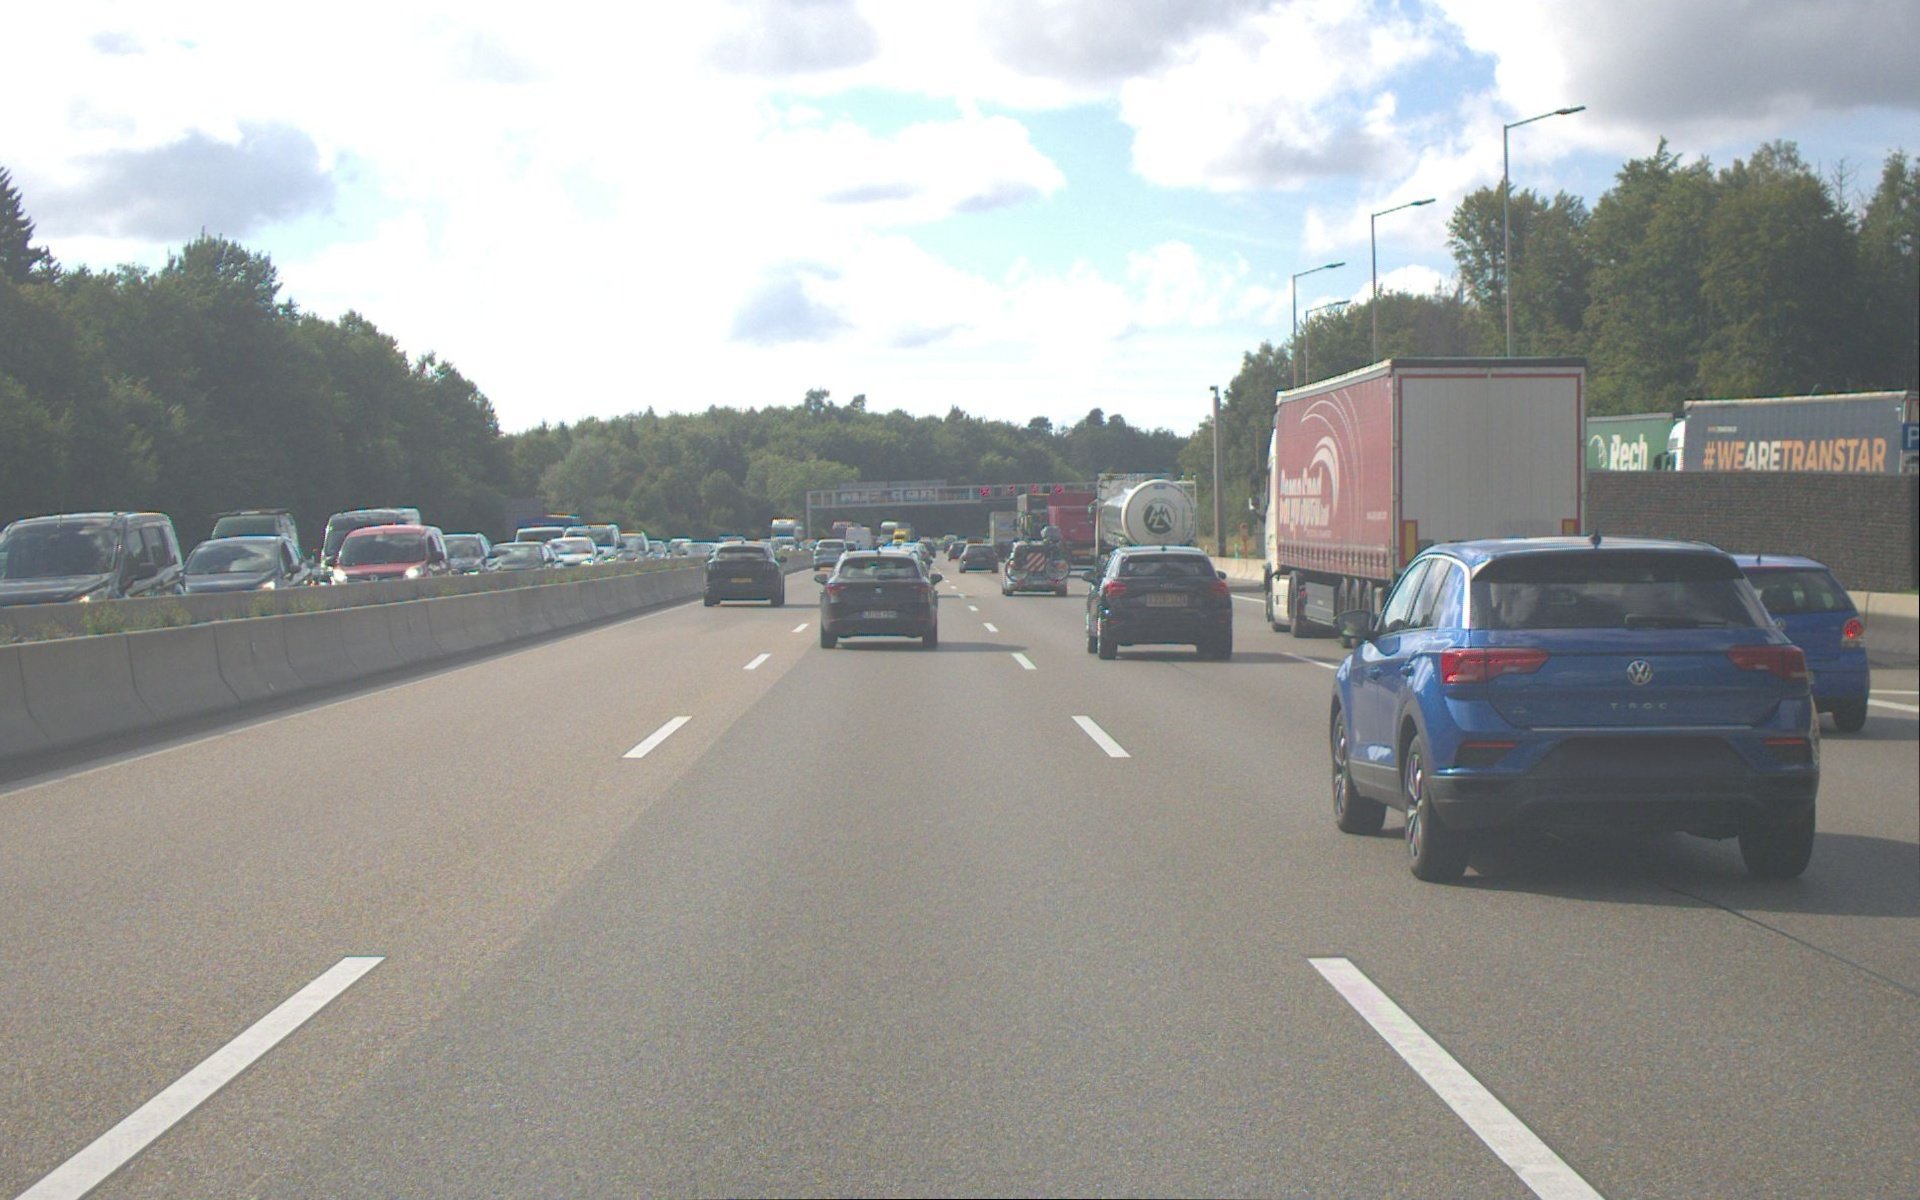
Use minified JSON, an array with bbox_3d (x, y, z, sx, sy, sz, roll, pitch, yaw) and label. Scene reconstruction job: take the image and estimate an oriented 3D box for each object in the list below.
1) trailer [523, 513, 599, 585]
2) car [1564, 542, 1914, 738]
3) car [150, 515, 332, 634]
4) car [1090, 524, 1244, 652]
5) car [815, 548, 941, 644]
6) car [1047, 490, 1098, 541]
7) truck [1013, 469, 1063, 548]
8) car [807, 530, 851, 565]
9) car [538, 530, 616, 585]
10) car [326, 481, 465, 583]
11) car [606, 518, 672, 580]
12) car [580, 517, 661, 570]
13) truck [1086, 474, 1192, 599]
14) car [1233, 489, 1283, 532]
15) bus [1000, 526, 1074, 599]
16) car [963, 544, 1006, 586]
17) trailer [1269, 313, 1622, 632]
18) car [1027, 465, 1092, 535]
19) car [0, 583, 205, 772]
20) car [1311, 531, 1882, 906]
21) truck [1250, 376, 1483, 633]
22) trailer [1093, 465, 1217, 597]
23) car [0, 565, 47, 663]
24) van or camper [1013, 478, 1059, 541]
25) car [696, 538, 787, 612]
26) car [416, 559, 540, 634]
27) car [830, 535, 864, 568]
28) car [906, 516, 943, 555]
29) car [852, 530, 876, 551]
[{"bbox_3d":[-15.788,-2.017,136.455,2.278,2.776,8.542,0,1,-2],"label":"trailer"},{"bbox_3d":[6.466,0.314,29.015,1.715,1.506,4.302,-1,0,-4],"label":"car"},{"bbox_3d":[-11.127,-0.380,53.483,1.858,1.756,4.458,0,0,0],"label":"car"},{"bbox_3d":[2.768,-0.158,46.654,1.799,1.639,4.000,1,0,0],"label":"car"},{"bbox_3d":[-1.266,-0.055,51.570,1.734,1.360,4.000,1,0,-3],"label":"car"},{"bbox_3d":[4.799,-3.586,146.813,1.993,2.007,4.000,0,-1,-1],"label":"car"},{"bbox_3d":[3.934,-4.601,174.580,2.358,3.560,11.266,0,-1,0],"label":"truck"},{"bbox_3d":[-6.973,-2.800,183.334,2.154,1.770,4.000,1,0,0],"label":"car"},{"bbox_3d":[-11.286,-1.283,101.570,1.765,1.567,4.357,1,1,0],"label":"car"},{"bbox_3d":[-10.183,-1.224,62.348,1.875,1.756,5.295,0,1,-3],"label":"car"},{"bbox_3d":[-11.183,-1.760,120.073,1.993,2.007,4.677,0,-1,-2],"label":"car"},{"bbox_3d":[-10.858,-1.818,110.188,1.993,1.567,5.329,2,1,0],"label":"car"},{"bbox_3d":[6.092,-2.125,117.785,3.045,4.146,7.127,0,0,-2],"label":"truck"},{"bbox_3d":[14.778,-4.433,170.578,1.993,2.007,4.000,-1,0,-1],"label":"car"},{"bbox_3d":[2.191,-1.053,98.712,1.993,2.007,4.000,0,-1,0],"label":"bus"},{"bbox_3d":[1.196,-1.714,168.497,1.993,2.007,4.000,1,0,-1],"label":"car"},{"bbox_3d":[6.854,-1.572,51.053,3.038,4.021,13.890,0,-1,-1],"label":"trailer"},{"bbox_3d":[4.538,-4.545,157.294,2.866,2.981,5.149,0,-1,0],"label":"car"},{"bbox_3d":[-9.981,0.852,38.960,1.816,2.007,4.452,0,-1,0],"label":"car"},{"bbox_3d":[2.920,0.452,16.817,1.924,1.536,4.646,1,1,0],"label":"car"},{"bbox_3d":[6.747,-1.495,57.892,3.080,4.050,6.070,0,-1,-1],"label":"truck"},{"bbox_3d":[6.214,-2.132,111.563,3.036,4.002,12.245,0,0,-1],"label":"trailer"},{"bbox_3d":[-18.462,0.247,63.467,1.993,1.756,4.459,0,1,0],"label":"car"},{"bbox_3d":[3.985,-4.756,181.744,2.351,3.133,5.710,0,-1,1],"label":"van or camper"},{"bbox_3d":[-5.354,-0.630,84.792,1.993,1.770,4.000,0,1,0],"label":"car"},{"bbox_3d":[-10.688,-0.107,76.571,1.993,1.567,5.207,1,1,0],"label":"car"},{"bbox_3d":[-6.962,-2.963,211.394,1.993,2.007,4.001,0,1,-3],"label":"car"},{"bbox_3d":[-2.003,-3.590,191.853,1.993,2.007,4.000,-1,-1,-1],"label":"car"},{"bbox_3d":[-7.005,-4.368,251.238,1.623,1.465,3.814,1,0,0],"label":"car"}]
